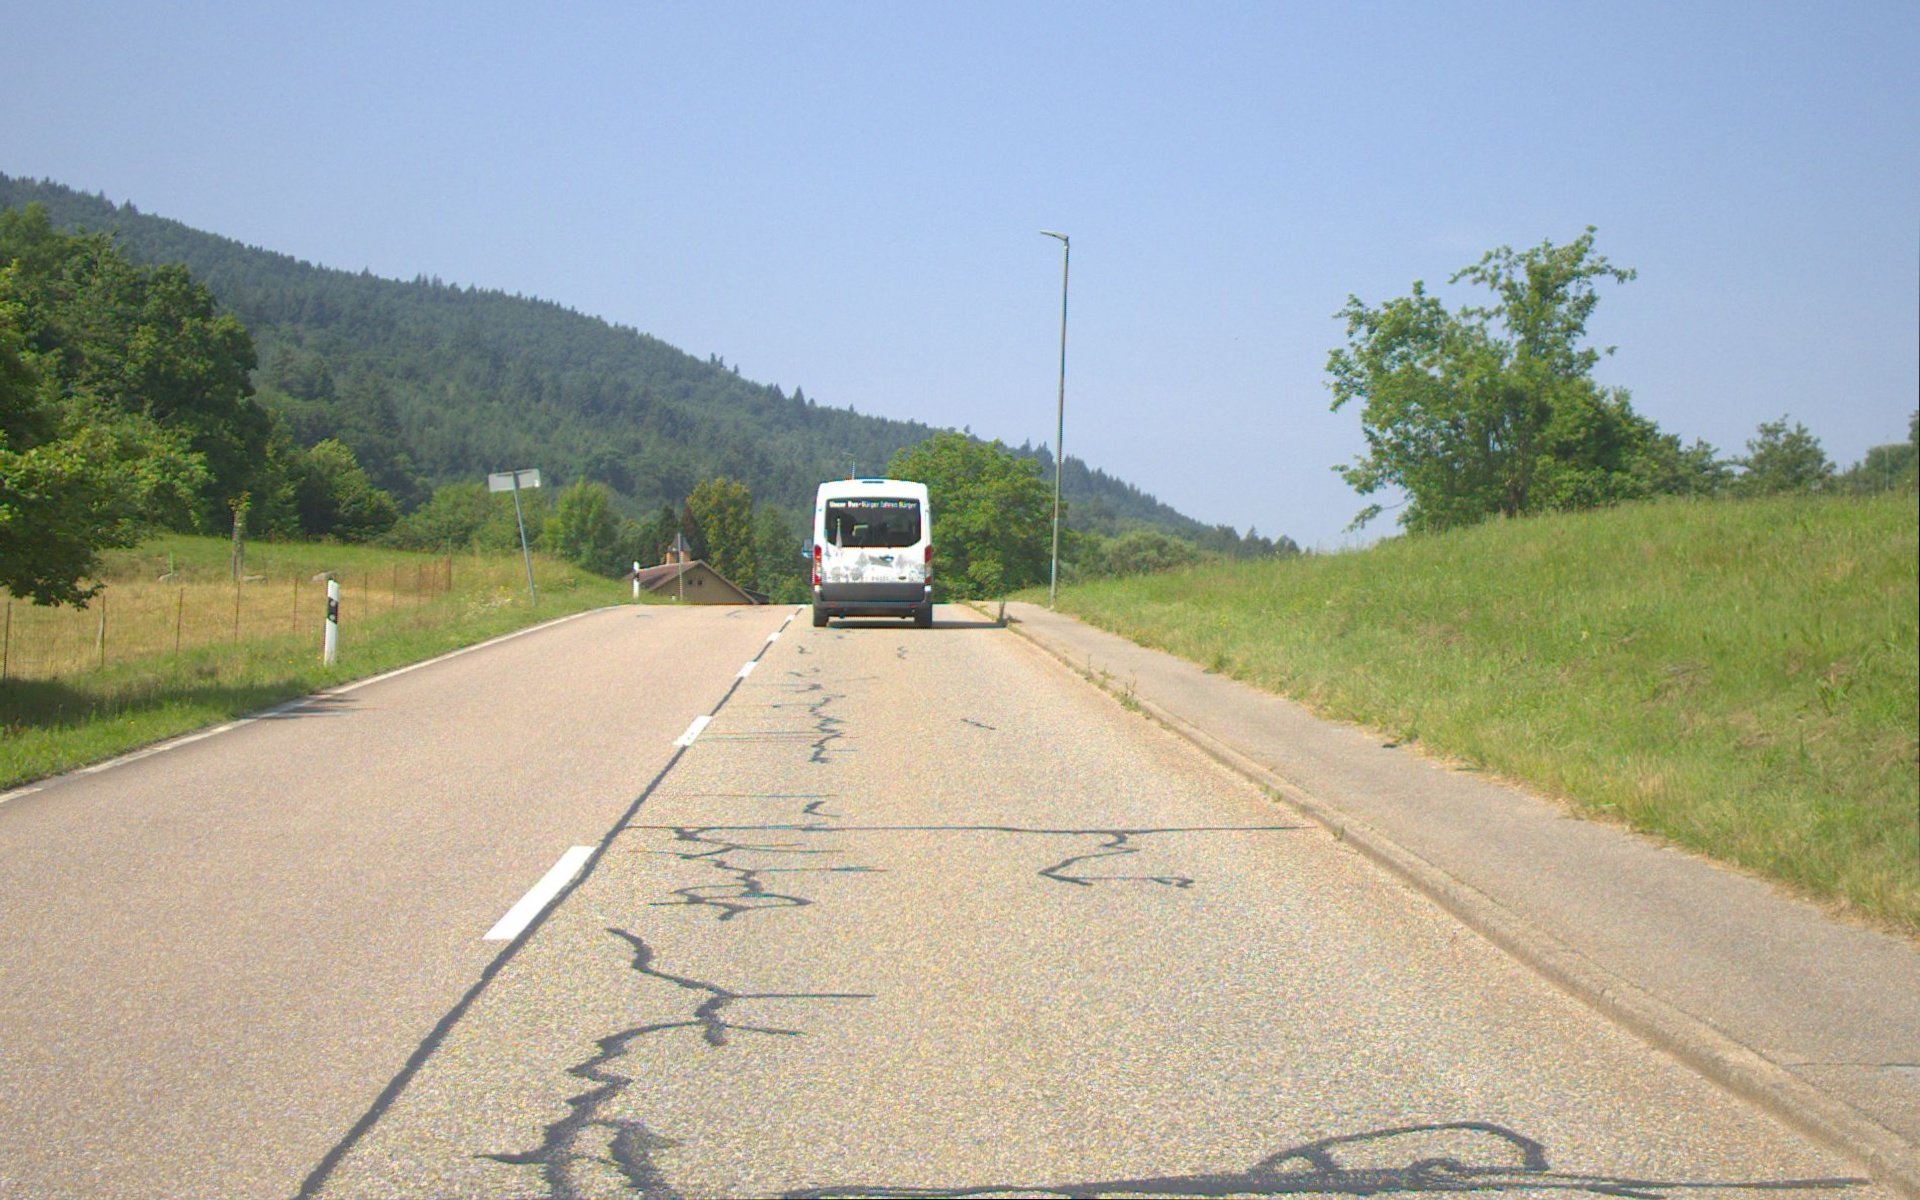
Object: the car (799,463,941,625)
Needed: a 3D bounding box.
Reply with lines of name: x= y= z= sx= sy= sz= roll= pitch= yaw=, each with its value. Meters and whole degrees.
car: x=-1.541 y=-0.897 z=58.656 sx=2.222 sy=2.517 sz=4.984 roll=-2 pitch=-1 yaw=-2
